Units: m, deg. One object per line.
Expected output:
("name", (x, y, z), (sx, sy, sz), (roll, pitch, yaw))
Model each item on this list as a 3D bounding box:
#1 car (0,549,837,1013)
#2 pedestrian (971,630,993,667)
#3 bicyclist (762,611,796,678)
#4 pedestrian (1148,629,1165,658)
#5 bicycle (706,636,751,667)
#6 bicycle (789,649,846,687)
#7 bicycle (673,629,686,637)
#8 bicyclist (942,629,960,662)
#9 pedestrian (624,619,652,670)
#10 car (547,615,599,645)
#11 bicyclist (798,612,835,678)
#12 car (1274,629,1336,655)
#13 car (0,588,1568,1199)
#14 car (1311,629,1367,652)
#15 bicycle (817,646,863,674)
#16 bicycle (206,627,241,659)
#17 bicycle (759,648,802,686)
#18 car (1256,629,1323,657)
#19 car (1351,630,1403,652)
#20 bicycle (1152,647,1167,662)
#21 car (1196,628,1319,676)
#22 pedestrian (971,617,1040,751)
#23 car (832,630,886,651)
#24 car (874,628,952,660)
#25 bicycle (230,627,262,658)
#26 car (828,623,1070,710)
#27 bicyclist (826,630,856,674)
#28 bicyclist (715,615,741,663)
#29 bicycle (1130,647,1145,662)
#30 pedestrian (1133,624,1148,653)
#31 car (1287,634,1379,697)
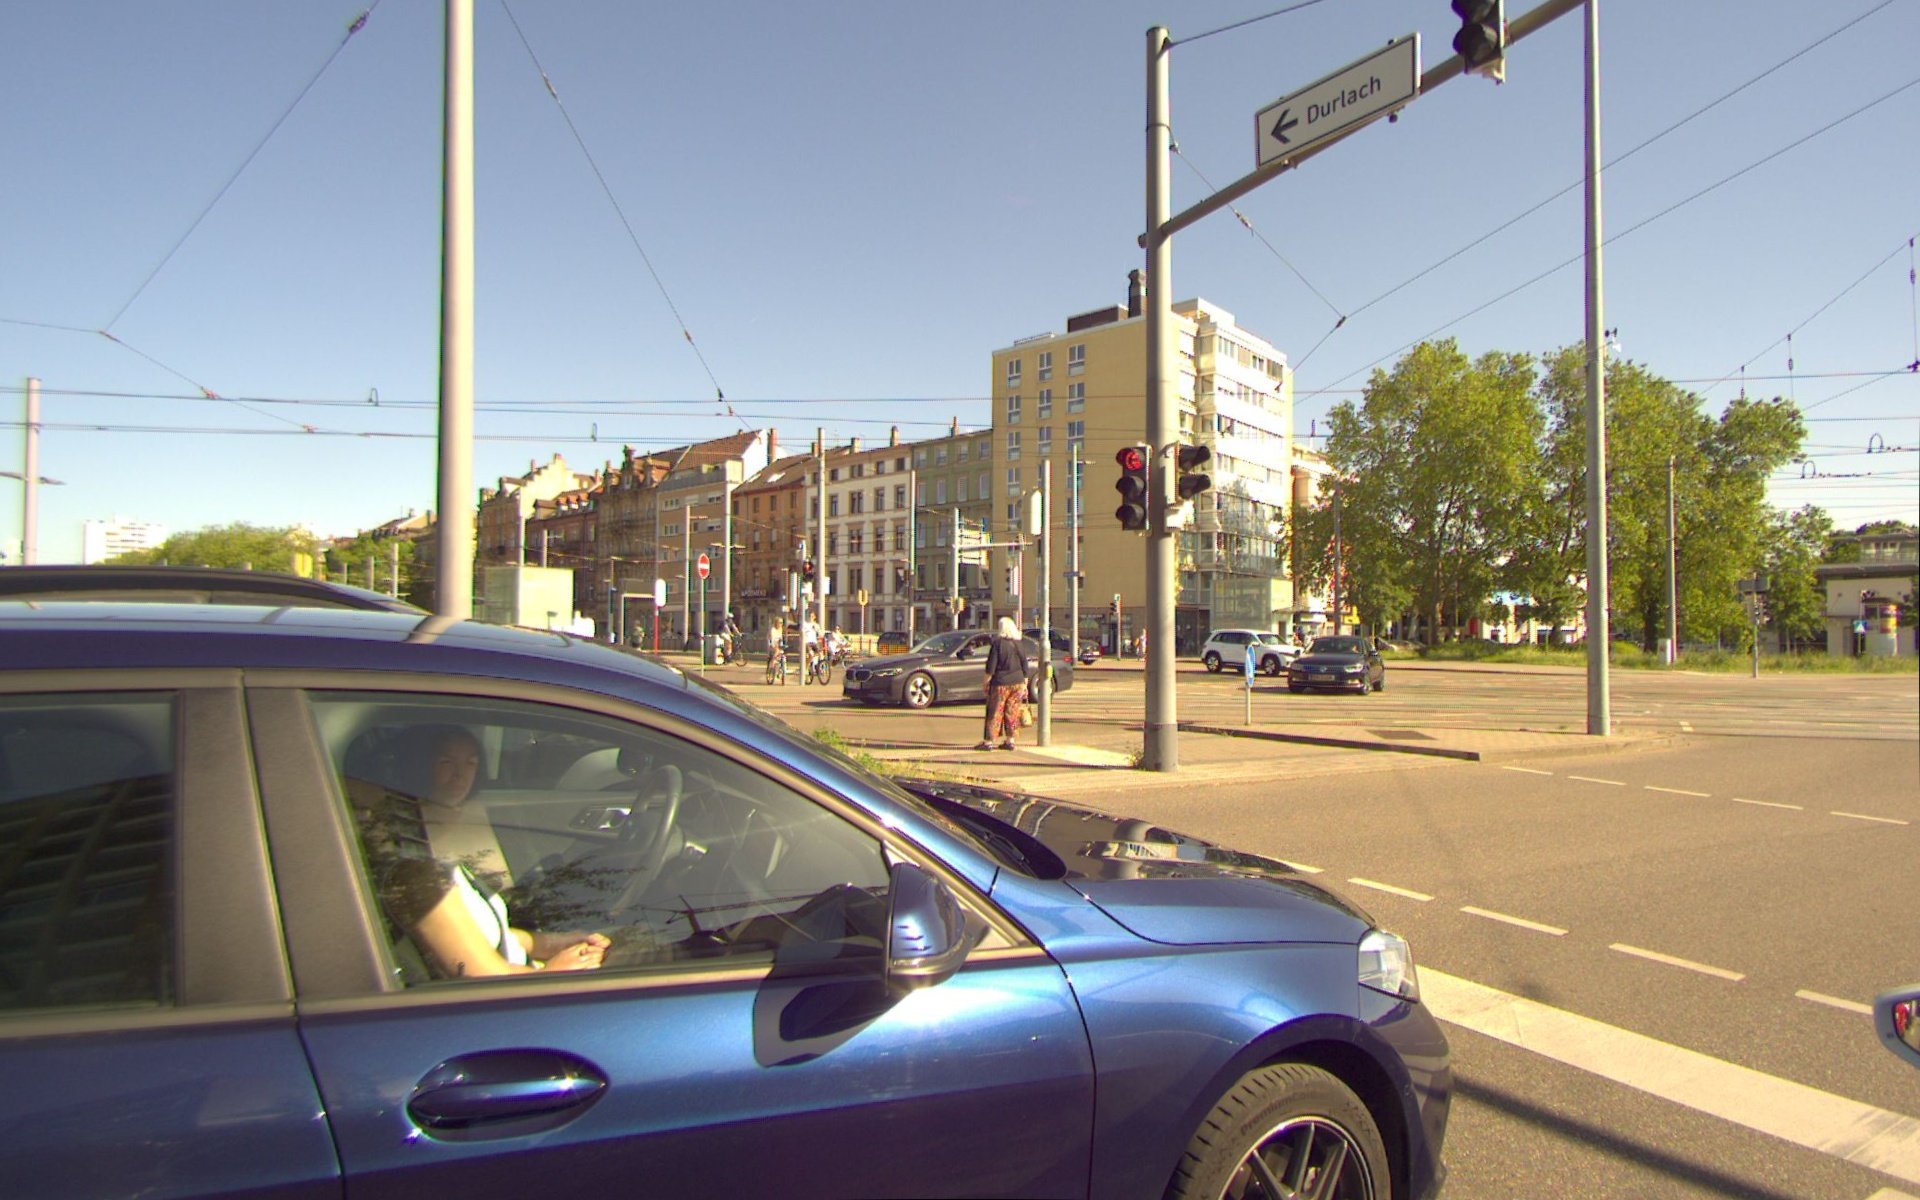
("car", (-2.737, 0.631, 4.559), (3.959, 1.537, 1.751), (2, -1, -28))
("pedestrian", (0.987, 2.144, 44.667), (0.669, 1.593, 0.740), (2, -2, -45))
("bicyclist", (-4.630, 1.124, 25.676), (0.669, 1.676, 0.781), (1, -2, -23))
("pedestrian", (10.861, 2.379, 55.464), (0.754, 1.581, 0.614), (0, -2, 32))
("bicycle", (-8.619, 1.902, 37.322), (1.871, 1.120, 0.675), (-1, -2, 41))
("bicycle", (-3.690, 1.738, 25.939), (0.672, 0.890, 1.880), (2, -2, -35))
("bicycle", (-28.292, 3.332, 101.296), (1.611, 0.727, 0.421), (-1, -2, 43))
("bicyclist", (-0.412, 2.074, 45.729), (0.609, 1.462, 0.614), (1, -2, -30))
("pedestrian", (-11.112, 1.535, 34.626), (0.672, 1.735, 0.793), (2, -2, -38))
("car", (-36.930, 2.821, 95.727), (5.837, 2.780, 2.133), (-1, -2, 41))
("bicyclist", (-3.720, 1.151, 26.007), (0.672, 1.676, 0.777), (2, -2, -35))
("car", (23.520, 2.847, 68.444), (3.690, 1.684, 1.586), (-1, -2, 42))
("car", (-0.766, 0.744, 2.030), (3.984, 1.464, 1.703), (2, -1, -30))
("car", (28.974, 3.105, 76.768), (3.690, 1.684, 1.586), (-1, -2, 42))
("bicycle", (-4.138, 2.047, 34.531), (0.673, 0.890, 1.876), (2, -2, -40))
("bicycle", (-28.129, 1.642, 38.378), (0.461, 1.189, 1.252), (1, -2, -7))
("bicycle", (-4.586, 1.689, 25.541), (0.669, 0.890, 1.888), (1, -2, -23))
("car", (20.709, 2.705, 63.246), (3.690, 1.684, 1.586), (-1, -2, 42))
("car", (33.950, 3.316, 81.811), (3.690, 1.684, 1.586), (-1, -2, 42))
("bicycle", (11.056, 3.010, 55.640), (0.451, 0.790, 1.808), (0, -2, 23))
("car", (11.067, 1.894, 37.634), (1.839, 1.675, 4.268), (2, -2, -33))
("pedestrian", (0.549, 0.996, 12.095), (0.749, 1.575, 0.356), (1, -2, -17))
("car", (-7.389, 2.980, 73.930), (1.749, 1.446, 3.863), (-1, -2, 39))
("car", (-2.633, 2.422, 55.808), (4.246, 1.675, 1.849), (-1, -2, 42))
("bicycle", (-28.299, 1.673, 39.835), (0.461, 1.189, 1.252), (1, -2, -7))
("car", (-0.140, 1.242, 19.600), (4.525, 1.520, 1.846), (2, -2, -36))
("bicyclist", (-4.079, 1.779, 34.448), (0.673, 1.474, 0.776), (2, -2, -41))
("bicyclist", (-8.627, 1.444, 37.342), (0.609, 1.735, 0.675), (-1, -2, 41))
("bicycle", (9.957, 3.041, 56.438), (0.478, 0.822, 1.612), (0, -2, 23))
("pedestrian", (10.127, 2.153, 56.384), (0.703, 1.581, 0.556), (-1, -2, 33))
("car", (9.620, 1.617, 25.725), (1.696, 1.457, 4.171), (0, -2, 27))
